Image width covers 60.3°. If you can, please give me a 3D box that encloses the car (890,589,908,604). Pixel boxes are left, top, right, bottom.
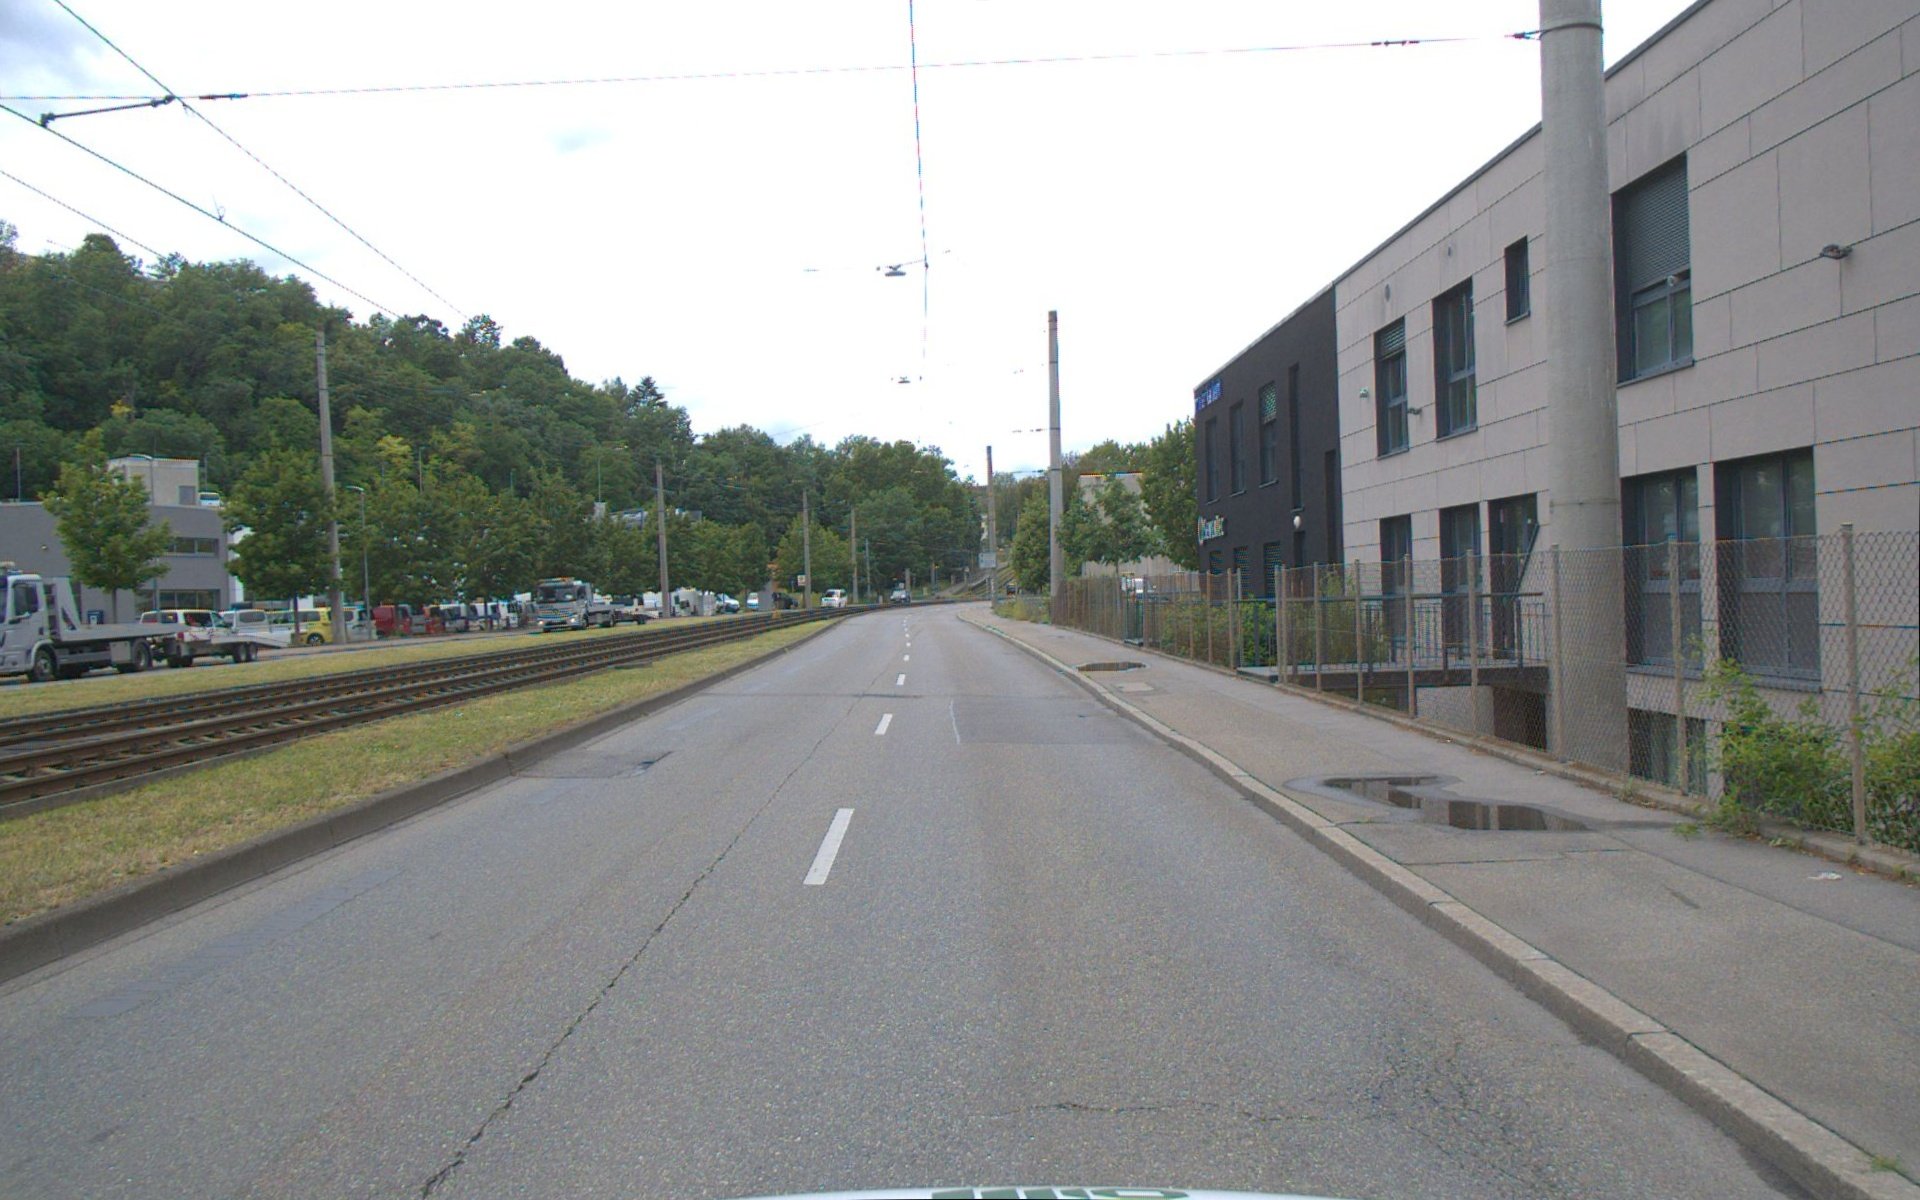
[{"bbox_3d":[-6.899,-0.441,187.897,1.953,1.668,3.999,-2,0,-1],"label":"car"}]

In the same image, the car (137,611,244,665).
[{"bbox_3d":[-30.224,1.532,65.096,1.952,1.932,4.610,-2,-3,1],"label":"car"}]

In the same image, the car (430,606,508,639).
[{"bbox_3d":[-28.541,1.315,96.221,3.903,1.735,1.835,-2,0,5],"label":"car"}]

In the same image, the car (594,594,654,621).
[{"bbox_3d":[-24.946,0.582,122.842,3.903,1.736,1.834,-2,-3,5],"label":"car"}]

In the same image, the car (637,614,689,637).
[{"bbox_3d":[-24.559,2.101,136.891,3.903,1.736,1.834,-2,-3,5],"label":"car"}]

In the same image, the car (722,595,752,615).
[{"bbox_3d":[-22.064,0.486,163.763,1.789,1.736,4.145,-2,-3,9],"label":"car"}]

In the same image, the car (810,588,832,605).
[{"bbox_3d":[-14.450,-0.413,172.542,1.953,1.668,3.999,-2,0,-1],"label":"car"}]

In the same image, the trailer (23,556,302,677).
[{"bbox_3d":[-22.755,0.386,48.139,2.833,3.034,10.791,-2,0,0],"label":"trailer"}]

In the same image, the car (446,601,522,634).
[{"bbox_3d":[-28.421,1.036,98.739,3.903,1.735,1.835,-2,1,5],"label":"car"}]

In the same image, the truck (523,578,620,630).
[{"bbox_3d":[-20.795,0.162,88.932,2.822,2.634,6.916,-2,0,6],"label":"truck"}]

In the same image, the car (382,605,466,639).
[{"bbox_3d":[-29.563,1.217,91.275,3.903,1.735,1.835,-2,0,5],"label":"car"}]

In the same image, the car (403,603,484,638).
[{"bbox_3d":[-29.173,1.165,93.480,3.903,1.735,1.835,-2,1,5],"label":"car"}]

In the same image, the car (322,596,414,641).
[{"bbox_3d":[-29.938,0.933,83.754,3.904,2.049,2.000,-2,-3,2],"label":"car"}]

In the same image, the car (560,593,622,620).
[{"bbox_3d":[-26.584,0.466,119.194,3.903,1.736,1.834,-2,-3,5],"label":"car"}]

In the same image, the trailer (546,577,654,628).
[{"bbox_3d":[-20.254,0.072,93.685,2.831,2.628,10.002,-2,0,6],"label":"trailer"}]

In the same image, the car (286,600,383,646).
[{"bbox_3d":[-30.463,1.141,80.610,3.904,2.049,2.000,-2,-3,2],"label":"car"}]

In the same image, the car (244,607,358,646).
[{"bbox_3d":[-30.881,1.270,77.570,4.500,1.602,2.000,-2,-3,1],"label":"car"}]

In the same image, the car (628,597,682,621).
[{"bbox_3d":[-24.606,0.723,133.351,3.903,1.736,1.834,-2,-3,5],"label":"car"}]

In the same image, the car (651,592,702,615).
[{"bbox_3d":[-24.086,0.326,140.811,3.903,1.736,1.834,-2,-3,5],"label":"car"}]

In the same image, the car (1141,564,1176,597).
[{"bbox_3d":[11.032,-1.088,91.657,1.789,1.735,3.809,-2,0,8],"label":"car"}]

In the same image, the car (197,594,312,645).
[{"bbox_3d":[-30.647,0.889,71.880,4.501,1.932,2.000,-3,-4,21],"label":"car"}]

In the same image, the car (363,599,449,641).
[{"bbox_3d":[-29.770,1.099,88.909,3.904,2.049,2.000,-2,-3,2],"label":"car"}]

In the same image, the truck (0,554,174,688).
[{"bbox_3d":[-22.746,0.477,41.272,2.824,3.042,6.912,-2,0,1],"label":"truck"}]

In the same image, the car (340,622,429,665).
[{"bbox_3d":[-30.008,2.306,86.340,3.904,2.049,2.000,-2,-3,2],"label":"car"}]
